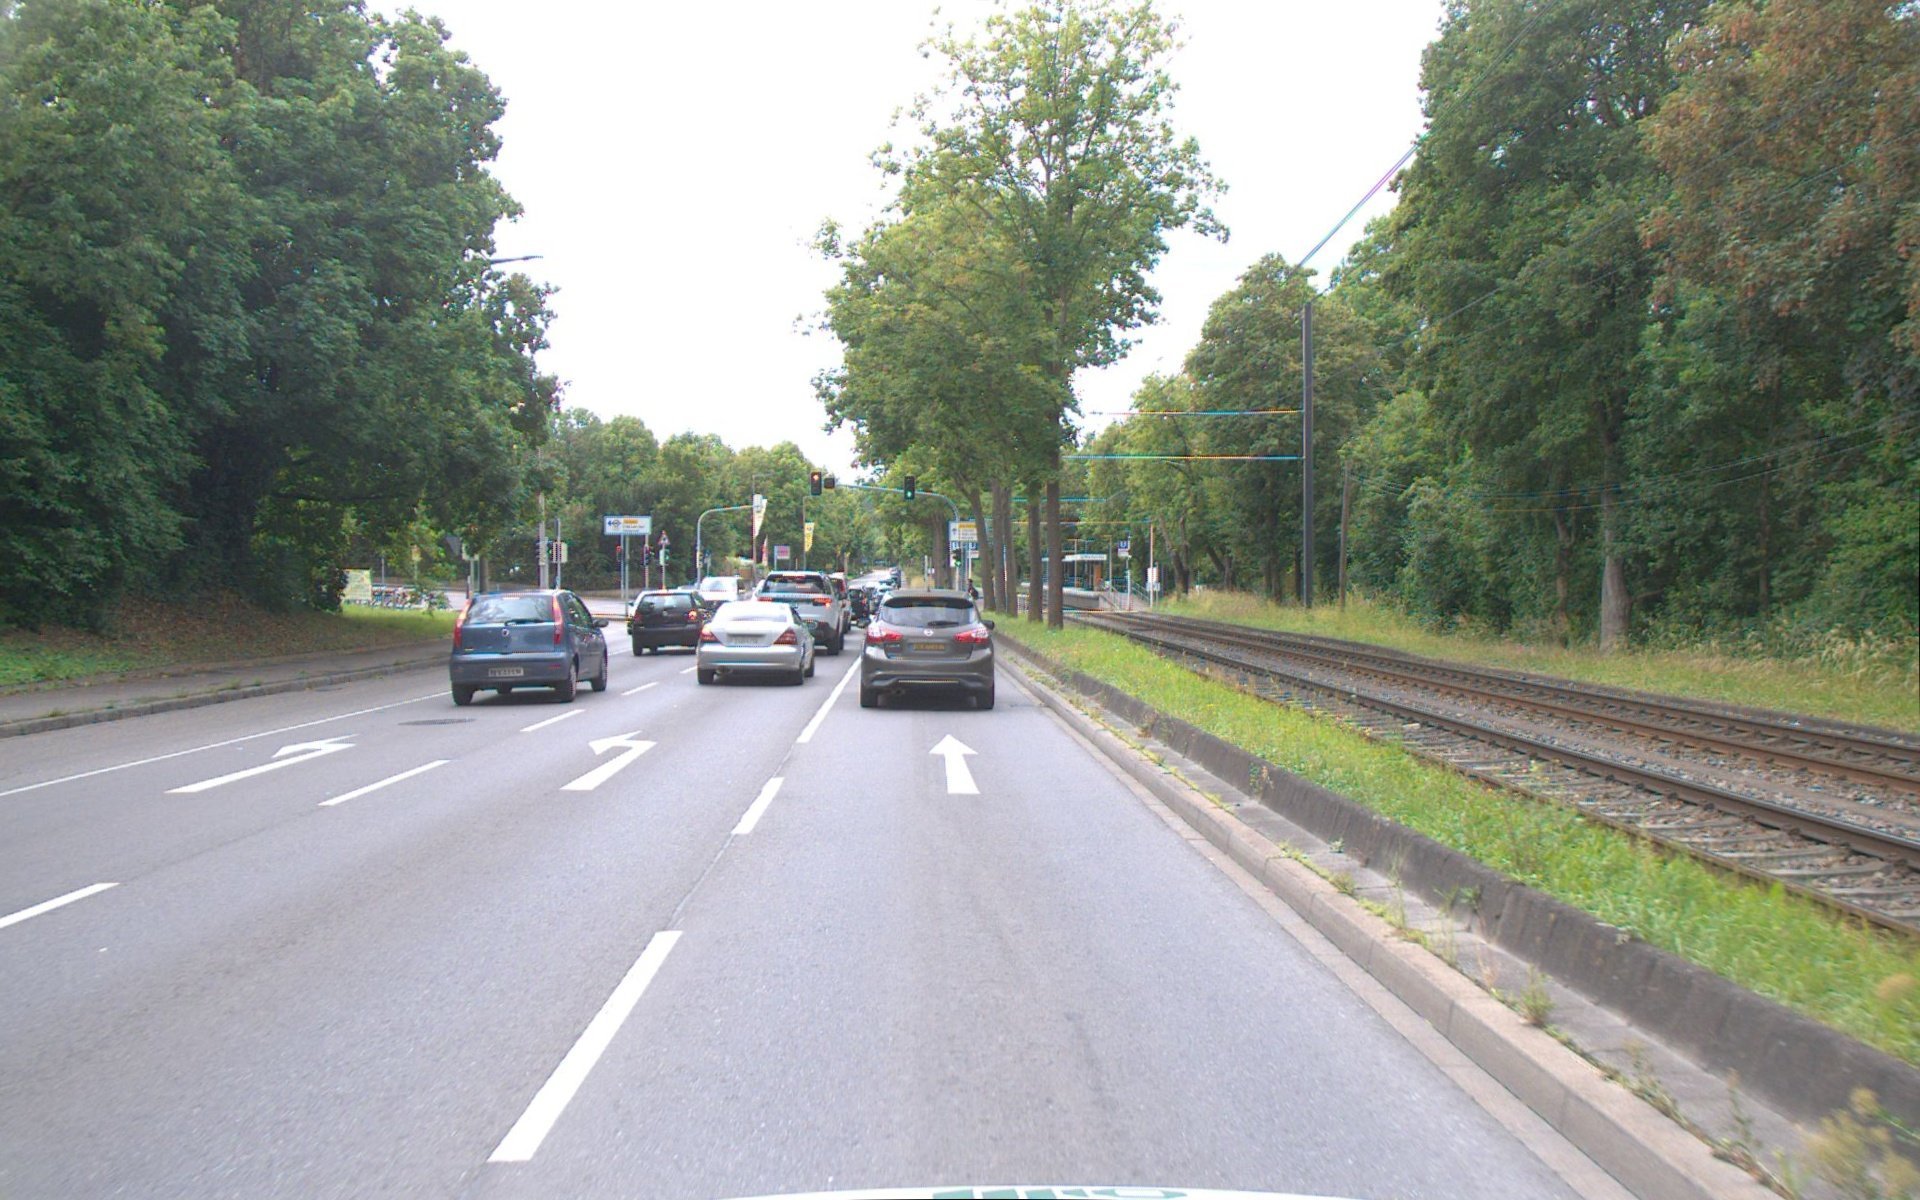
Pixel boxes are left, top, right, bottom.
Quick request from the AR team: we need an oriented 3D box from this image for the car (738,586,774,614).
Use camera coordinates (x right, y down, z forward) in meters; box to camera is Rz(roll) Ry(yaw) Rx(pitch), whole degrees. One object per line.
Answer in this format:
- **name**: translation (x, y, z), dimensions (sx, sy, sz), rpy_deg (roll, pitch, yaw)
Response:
- **car**: translation (-12.050, -0.007, 97.834), dimensions (1.704, 1.565, 3.908), rpy_deg (1, 0, -2)

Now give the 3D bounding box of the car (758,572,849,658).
- **car**: translation (-3.584, 0.323, 38.534), dimensions (1.767, 1.826, 4.502), rpy_deg (1, 0, -2)

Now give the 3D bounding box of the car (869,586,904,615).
- **car**: translation (-3.932, 0.006, 88.591), dimensions (1.675, 1.501, 3.671), rpy_deg (1, 1, 0)

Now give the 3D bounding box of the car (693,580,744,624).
- **car**: translation (-10.676, 0.044, 73.302), dimensions (1.755, 1.863, 4.407), rpy_deg (-1, 1, -2)

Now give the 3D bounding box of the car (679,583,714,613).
- **car**: translation (-16.644, -0.165, 104.656), dimensions (1.906, 1.843, 4.437), rpy_deg (1, 0, -7)

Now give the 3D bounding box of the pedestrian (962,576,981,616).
- **pedestrian**: translation (0.525, -0.191, 75.606), dimensions (0.736, 1.767, 0.840), rpy_deg (-2, 0, 3)

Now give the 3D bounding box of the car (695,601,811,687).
- **car**: translation (-3.335, 0.676, 27.241), dimensions (1.523, 1.289, 3.821), rpy_deg (1, 0, -2)

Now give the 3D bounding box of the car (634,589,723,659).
- **car**: translation (-6.587, 0.519, 38.986), dimensions (1.525, 1.492, 3.806), rpy_deg (-2, 1, -2)

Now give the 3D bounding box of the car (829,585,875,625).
- **car**: translation (-4.223, 0.168, 65.229), dimensions (1.669, 1.506, 3.666), rpy_deg (0, 1, -2)

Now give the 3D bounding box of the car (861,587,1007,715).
- **car**: translation (-0.323, 0.622, 22.599), dimensions (1.800, 1.555, 3.929), rpy_deg (1, 1, 0)

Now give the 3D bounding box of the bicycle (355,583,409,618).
- **bicycle**: translation (-21.725, 0.017, 62.186), dimensions (0.535, 1.274, 1.928), rpy_deg (2, 0, 35)

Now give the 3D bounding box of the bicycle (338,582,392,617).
- **bicycle**: translation (-22.527, -0.011, 62.612), dimensions (0.535, 1.274, 1.928), rpy_deg (2, 0, 35)

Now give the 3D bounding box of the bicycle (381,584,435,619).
- **bicycle**: translation (-20.433, 0.063, 61.245), dimensions (0.535, 1.274, 1.928), rpy_deg (2, 0, 35)

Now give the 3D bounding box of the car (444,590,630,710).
- **car**: translation (-5.792, 0.624, 23.080), dimensions (1.559, 1.493, 3.929), rpy_deg (-1, 0, 0)

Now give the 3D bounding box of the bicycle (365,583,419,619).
- **bicycle**: translation (-21.069, 0.041, 61.385), dimensions (0.535, 1.274, 1.928), rpy_deg (2, 0, 35)

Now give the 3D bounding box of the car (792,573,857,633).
- **car**: translation (-4.469, 0.063, 55.222), dimensions (1.868, 1.875, 5.280), rpy_deg (0, 1, -2)

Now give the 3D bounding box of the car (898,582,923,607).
- **car**: translation (-3.158, -0.373, 106.986), dimensions (1.472, 1.555, 3.671), rpy_deg (1, 1, 0)

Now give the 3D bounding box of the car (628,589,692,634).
- **car**: translation (-10.137, 0.361, 56.072), dimensions (1.597, 1.419, 3.831), rpy_deg (1, 1, -2)

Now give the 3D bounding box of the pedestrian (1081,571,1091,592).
- **pedestrian**: translation (9.689, -1.418, 127.368), dimensions (0.703, 1.537, 0.724), rpy_deg (2, 0, 1)

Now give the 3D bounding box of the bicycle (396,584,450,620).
- **bicycle**: translation (-19.800, 0.085, 60.973), dimensions (0.535, 1.274, 1.928), rpy_deg (2, 0, 35)
